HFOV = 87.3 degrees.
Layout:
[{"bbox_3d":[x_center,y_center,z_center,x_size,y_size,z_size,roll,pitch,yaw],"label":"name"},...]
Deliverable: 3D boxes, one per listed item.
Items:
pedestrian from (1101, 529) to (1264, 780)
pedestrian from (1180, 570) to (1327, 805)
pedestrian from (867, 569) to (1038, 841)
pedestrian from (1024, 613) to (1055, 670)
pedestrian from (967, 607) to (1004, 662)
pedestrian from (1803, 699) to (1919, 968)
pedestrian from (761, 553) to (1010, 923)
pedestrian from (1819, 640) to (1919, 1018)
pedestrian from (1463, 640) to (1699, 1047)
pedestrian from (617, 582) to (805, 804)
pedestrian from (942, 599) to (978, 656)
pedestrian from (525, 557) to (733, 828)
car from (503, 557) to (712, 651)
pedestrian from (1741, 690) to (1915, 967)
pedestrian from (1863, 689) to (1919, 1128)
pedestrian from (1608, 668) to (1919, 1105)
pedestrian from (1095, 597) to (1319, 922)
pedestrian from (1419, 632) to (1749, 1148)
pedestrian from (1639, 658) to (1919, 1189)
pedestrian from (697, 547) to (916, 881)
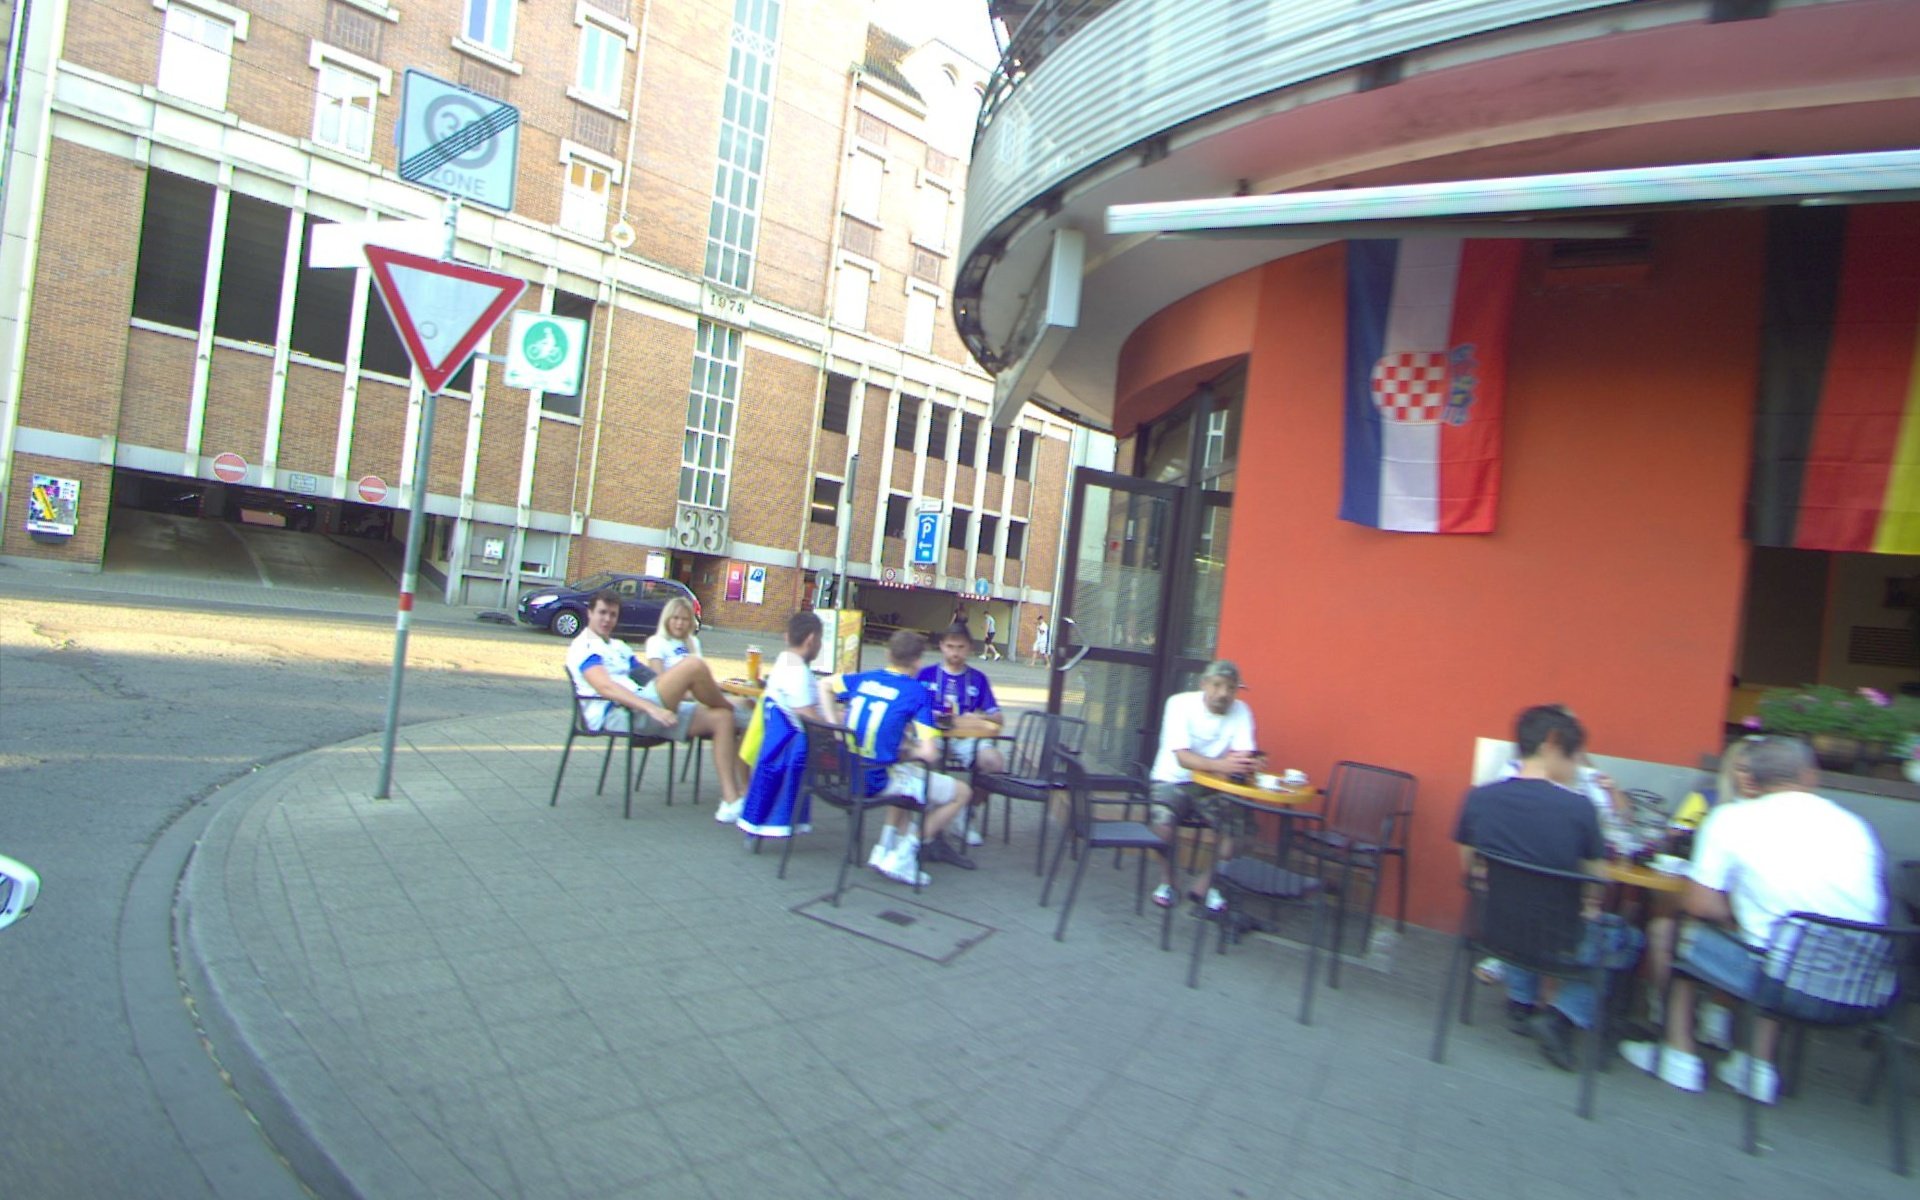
[{"bbox_3d":[1.955,0.468,8.826,0.843,2.038,0.907,7,0,41],"label":"pedestrian"},{"bbox_3d":[2.759,0.805,9.456,0.850,2.038,0.811,7,0,42],"label":"pedestrian"},{"bbox_3d":[-0.072,0.653,6.471,0.838,1.554,0.714,8,-1,-7],"label":"pedestrian"},{"bbox_3d":[2.756,1.436,34.769,0.668,1.850,0.674,7,0,28],"label":"pedestrian"},{"bbox_3d":[0.886,1.199,34.685,0.881,1.771,0.674,7,0,28],"label":"pedestrian"},{"bbox_3d":[6.738,1.664,7.308,0.606,1.798,0.612,7,0,19],"label":"pedestrian"},{"bbox_3d":[-0.353,0.600,4.863,0.838,1.557,0.712,7,4,29],"label":"pedestrian"},{"bbox_3d":[4.850,1.135,5.057,0.512,1.798,0.538,7,0,24],"label":"pedestrian"},{"bbox_3d":[2.685,0.993,4.441,0.643,1.556,0.674,7,2,25],"label":"pedestrian"},{"bbox_3d":[-1.604,0.586,6.611,0.949,1.297,0.686,5,0,2],"label":"pedestrian"},{"bbox_3d":[-0.002,0.965,35.036,0.881,1.855,0.636,7,0,28],"label":"pedestrian"},{"bbox_3d":[-1.890,0.510,5.862,0.823,1.399,0.771,6,0,1],"label":"pedestrian"},{"bbox_3d":[-8.007,0.116,22.976,3.970,1.538,1.979,9,-1,-39],"label":"car"},{"bbox_3d":[6.191,1.585,7.214,0.606,1.798,0.612,7,0,19],"label":"pedestrian"},{"bbox_3d":[3.785,1.122,3.438,0.667,1.554,0.853,7,-1,24],"label":"pedestrian"},{"bbox_3d":[3.336,1.097,4.228,0.769,1.522,0.769,7,0,25],"label":"pedestrian"},{"bbox_3d":[1.293,0.815,5.304,0.745,1.554,0.643,8,-1,-30],"label":"pedestrian"},{"bbox_3d":[2.178,0.943,3.651,0.746,1.557,0.713,7,4,23],"label":"pedestrian"},{"bbox_3d":[2.927,1.026,3.469,0.687,1.548,0.649,7,4,23],"label":"pedestrian"},{"bbox_3d":[-0.793,0.555,5.206,0.680,1.555,0.710,6,0,44],"label":"pedestrian"}]
